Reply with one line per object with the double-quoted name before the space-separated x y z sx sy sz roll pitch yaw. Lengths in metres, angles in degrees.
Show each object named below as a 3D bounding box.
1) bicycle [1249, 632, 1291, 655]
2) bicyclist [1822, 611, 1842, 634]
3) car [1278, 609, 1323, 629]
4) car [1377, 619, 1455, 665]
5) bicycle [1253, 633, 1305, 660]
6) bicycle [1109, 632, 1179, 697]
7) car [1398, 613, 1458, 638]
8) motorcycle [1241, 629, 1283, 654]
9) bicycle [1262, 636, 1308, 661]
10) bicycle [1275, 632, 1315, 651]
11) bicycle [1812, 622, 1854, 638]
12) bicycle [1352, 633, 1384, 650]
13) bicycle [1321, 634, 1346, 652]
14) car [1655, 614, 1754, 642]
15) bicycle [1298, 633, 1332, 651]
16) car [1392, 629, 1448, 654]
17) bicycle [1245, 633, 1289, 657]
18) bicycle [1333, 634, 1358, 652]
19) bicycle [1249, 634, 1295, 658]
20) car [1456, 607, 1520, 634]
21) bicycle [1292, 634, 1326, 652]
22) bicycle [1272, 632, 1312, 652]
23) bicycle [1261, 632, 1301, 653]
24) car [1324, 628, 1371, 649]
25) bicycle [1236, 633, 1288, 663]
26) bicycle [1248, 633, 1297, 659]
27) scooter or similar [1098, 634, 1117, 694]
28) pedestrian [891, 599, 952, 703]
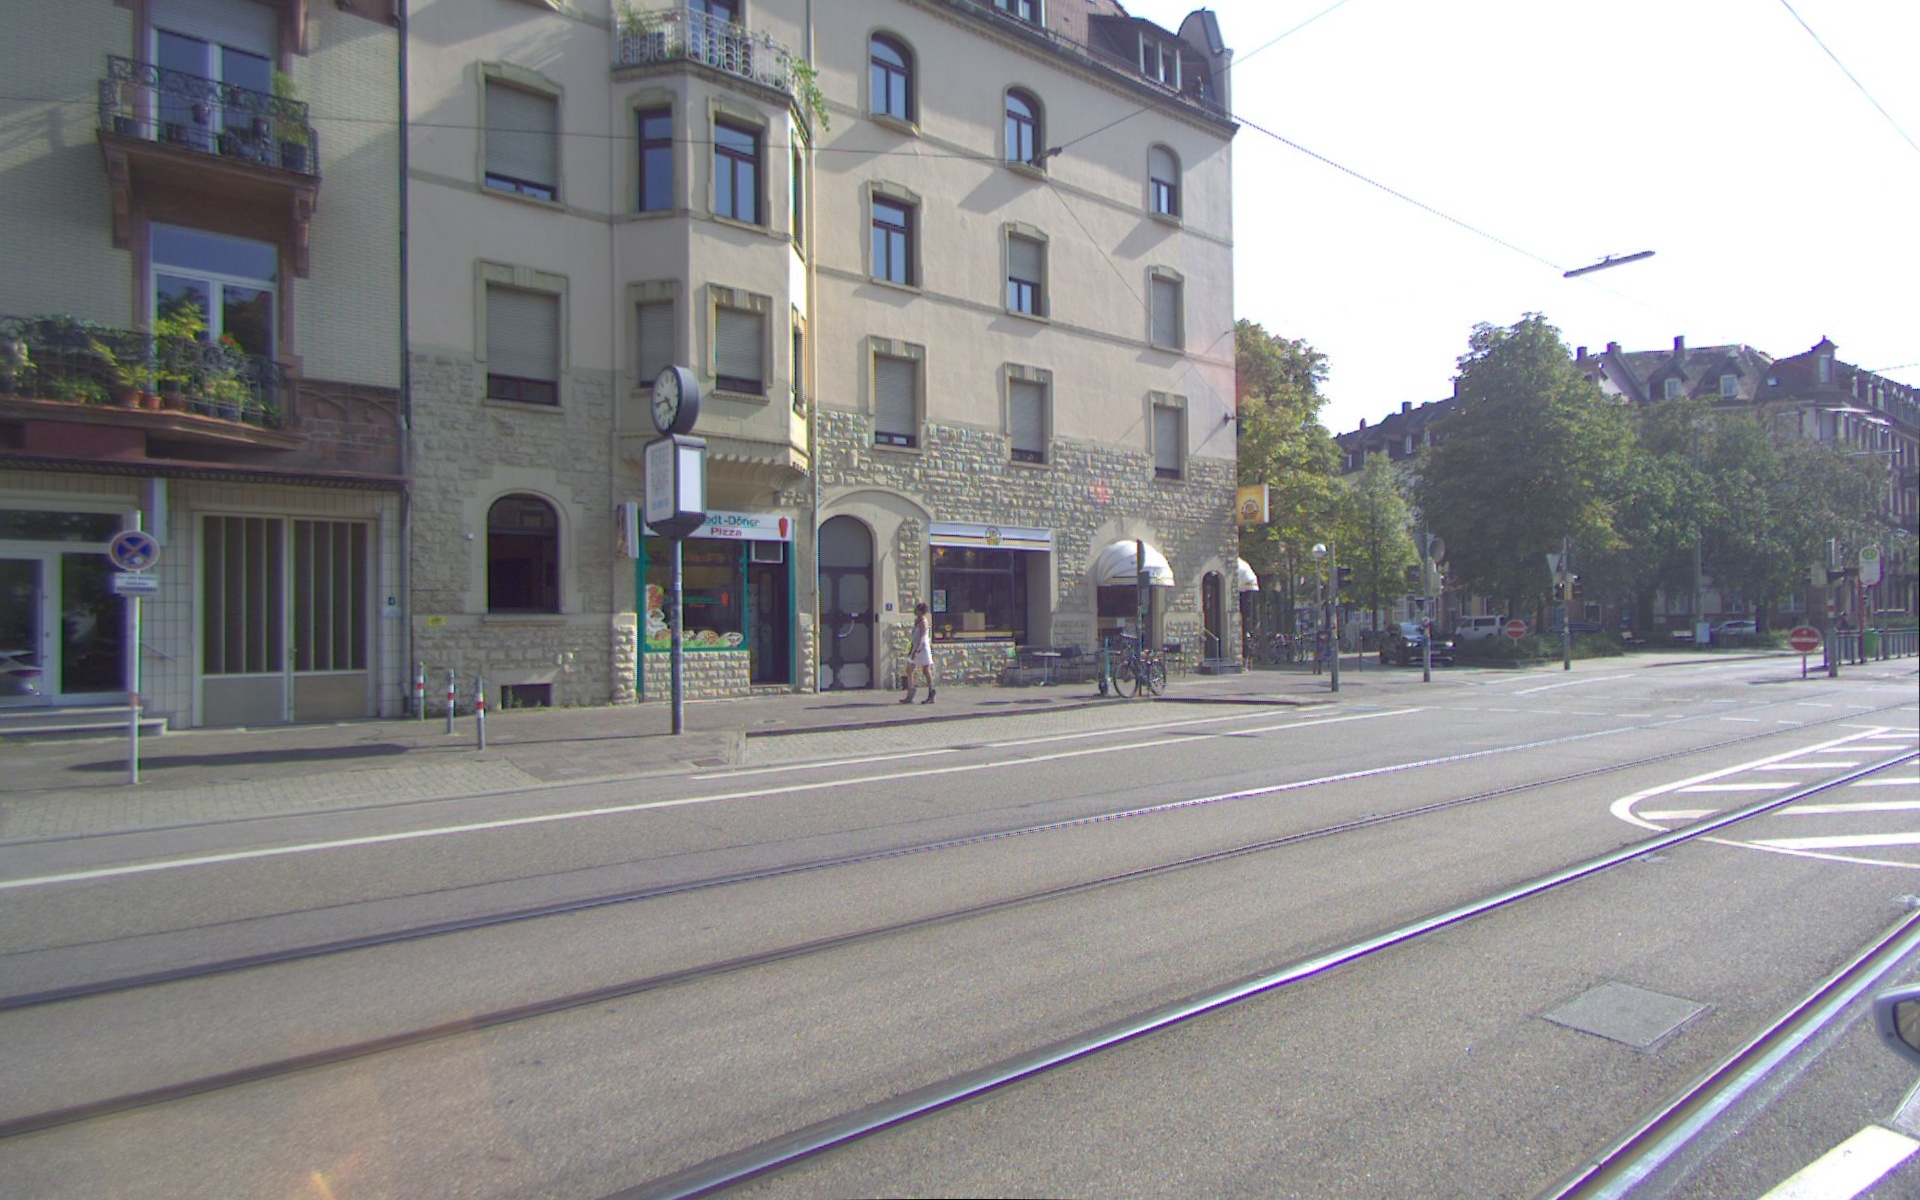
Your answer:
"bicycle" 14.673 2.047 47.509 1.841 1.041 0.664 -1 -2 21
"bicyclist" 51.800 1.314 59.659 0.810 1.345 0.545 -2 -2 44
"car" 32.475 1.812 95.981 1.971 1.852 3.979 0 -1 -23
"car" 16.623 1.500 36.772 1.579 1.535 4.231 -2 -1 10
"bicycle" 12.344 1.806 38.940 1.841 1.017 0.570 0 -1 1
"bicycle" 3.791 1.298 20.573 0.448 1.242 1.845 -2 -2 44
"car" 34.947 1.911 75.061 1.966 1.852 3.990 0 -1 -14
"motorcycle" 14.010 1.917 46.637 1.838 1.169 0.607 -1 -1 21
"bicycle" 12.129 1.812 37.475 1.578 0.932 0.479 0 -1 -6
"bicycle" 17.505 2.172 52.517 1.848 0.947 0.636 -1 -2 37
"bicycle" 51.811 1.780 59.646 1.831 0.970 0.545 -3 -2 44
"bicycle" 23.783 2.426 58.580 0.597 0.990 1.758 0 -2 -28
"bicycle" 20.833 2.392 56.051 1.753 0.990 0.421 0 -2 -37
"car" 44.515 1.666 60.164 4.248 1.590 2.001 -1 -2 13
"bicycle" 20.182 2.402 57.100 1.739 0.990 0.604 -2 -2 32
"car" 36.630 3.283 80.108 1.966 1.852 3.990 0 -1 -14
"bicycle" 13.143 1.925 43.005 1.768 0.996 0.661 0 -1 14
"bicycle" 21.510 2.393 56.094 1.753 0.990 0.421 0 -2 -37
"bicycle" 12.965 1.919 41.804 1.768 0.997 0.570 0 -1 14
"car" 38.224 1.500 72.823 1.966 1.852 3.990 0 -1 -14
"bicycle" 19.639 2.400 56.533 1.740 0.990 0.519 -2 -2 33
"bicycle" 16.883 2.127 51.080 1.863 0.993 0.686 -1 -2 21
"bicycle" 15.998 2.111 49.990 1.863 0.993 0.686 -1 -2 21
"car" 34.393 3.409 89.324 1.966 1.852 3.990 0 -1 -14
"bicycle" 11.447 1.820 38.073 1.847 1.127 0.568 0 -1 -15
"bicycle" 12.556 1.836 40.422 1.840 1.047 0.570 0 -1 16
"scooter or similar" 3.036 1.304 20.726 0.359 1.213 1.035 -1 -1 8
"pedestrian" -0.719 0.932 18.670 0.823 1.884 0.768 0 -2 -38
